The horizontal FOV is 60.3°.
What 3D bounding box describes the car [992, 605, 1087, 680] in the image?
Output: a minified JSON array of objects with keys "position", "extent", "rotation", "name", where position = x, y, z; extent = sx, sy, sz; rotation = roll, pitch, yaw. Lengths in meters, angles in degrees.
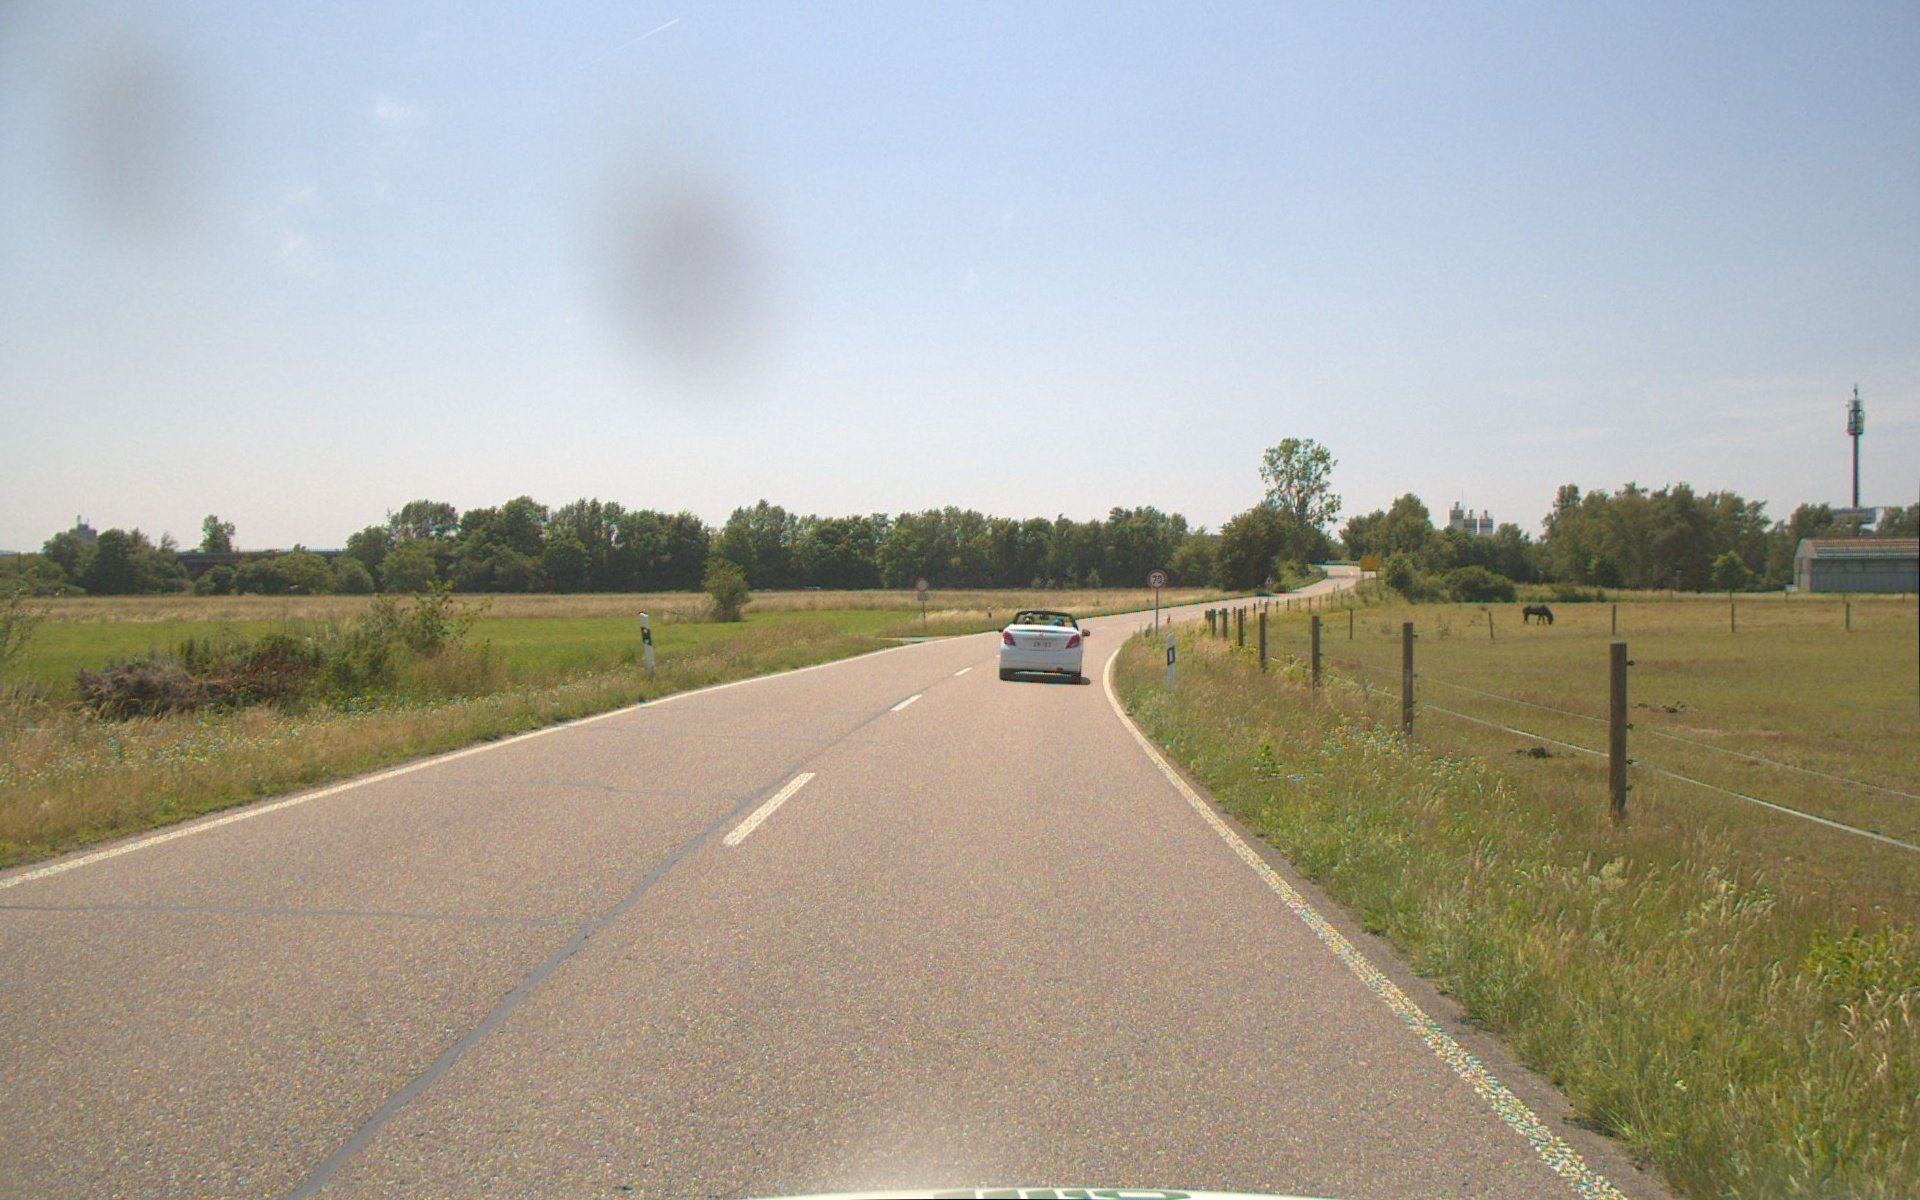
[{"position":[1.669,0.850,34.423],"extent":[1.812,1.403,4.001],"rotation":[2,0,3],"name":"car"}]
